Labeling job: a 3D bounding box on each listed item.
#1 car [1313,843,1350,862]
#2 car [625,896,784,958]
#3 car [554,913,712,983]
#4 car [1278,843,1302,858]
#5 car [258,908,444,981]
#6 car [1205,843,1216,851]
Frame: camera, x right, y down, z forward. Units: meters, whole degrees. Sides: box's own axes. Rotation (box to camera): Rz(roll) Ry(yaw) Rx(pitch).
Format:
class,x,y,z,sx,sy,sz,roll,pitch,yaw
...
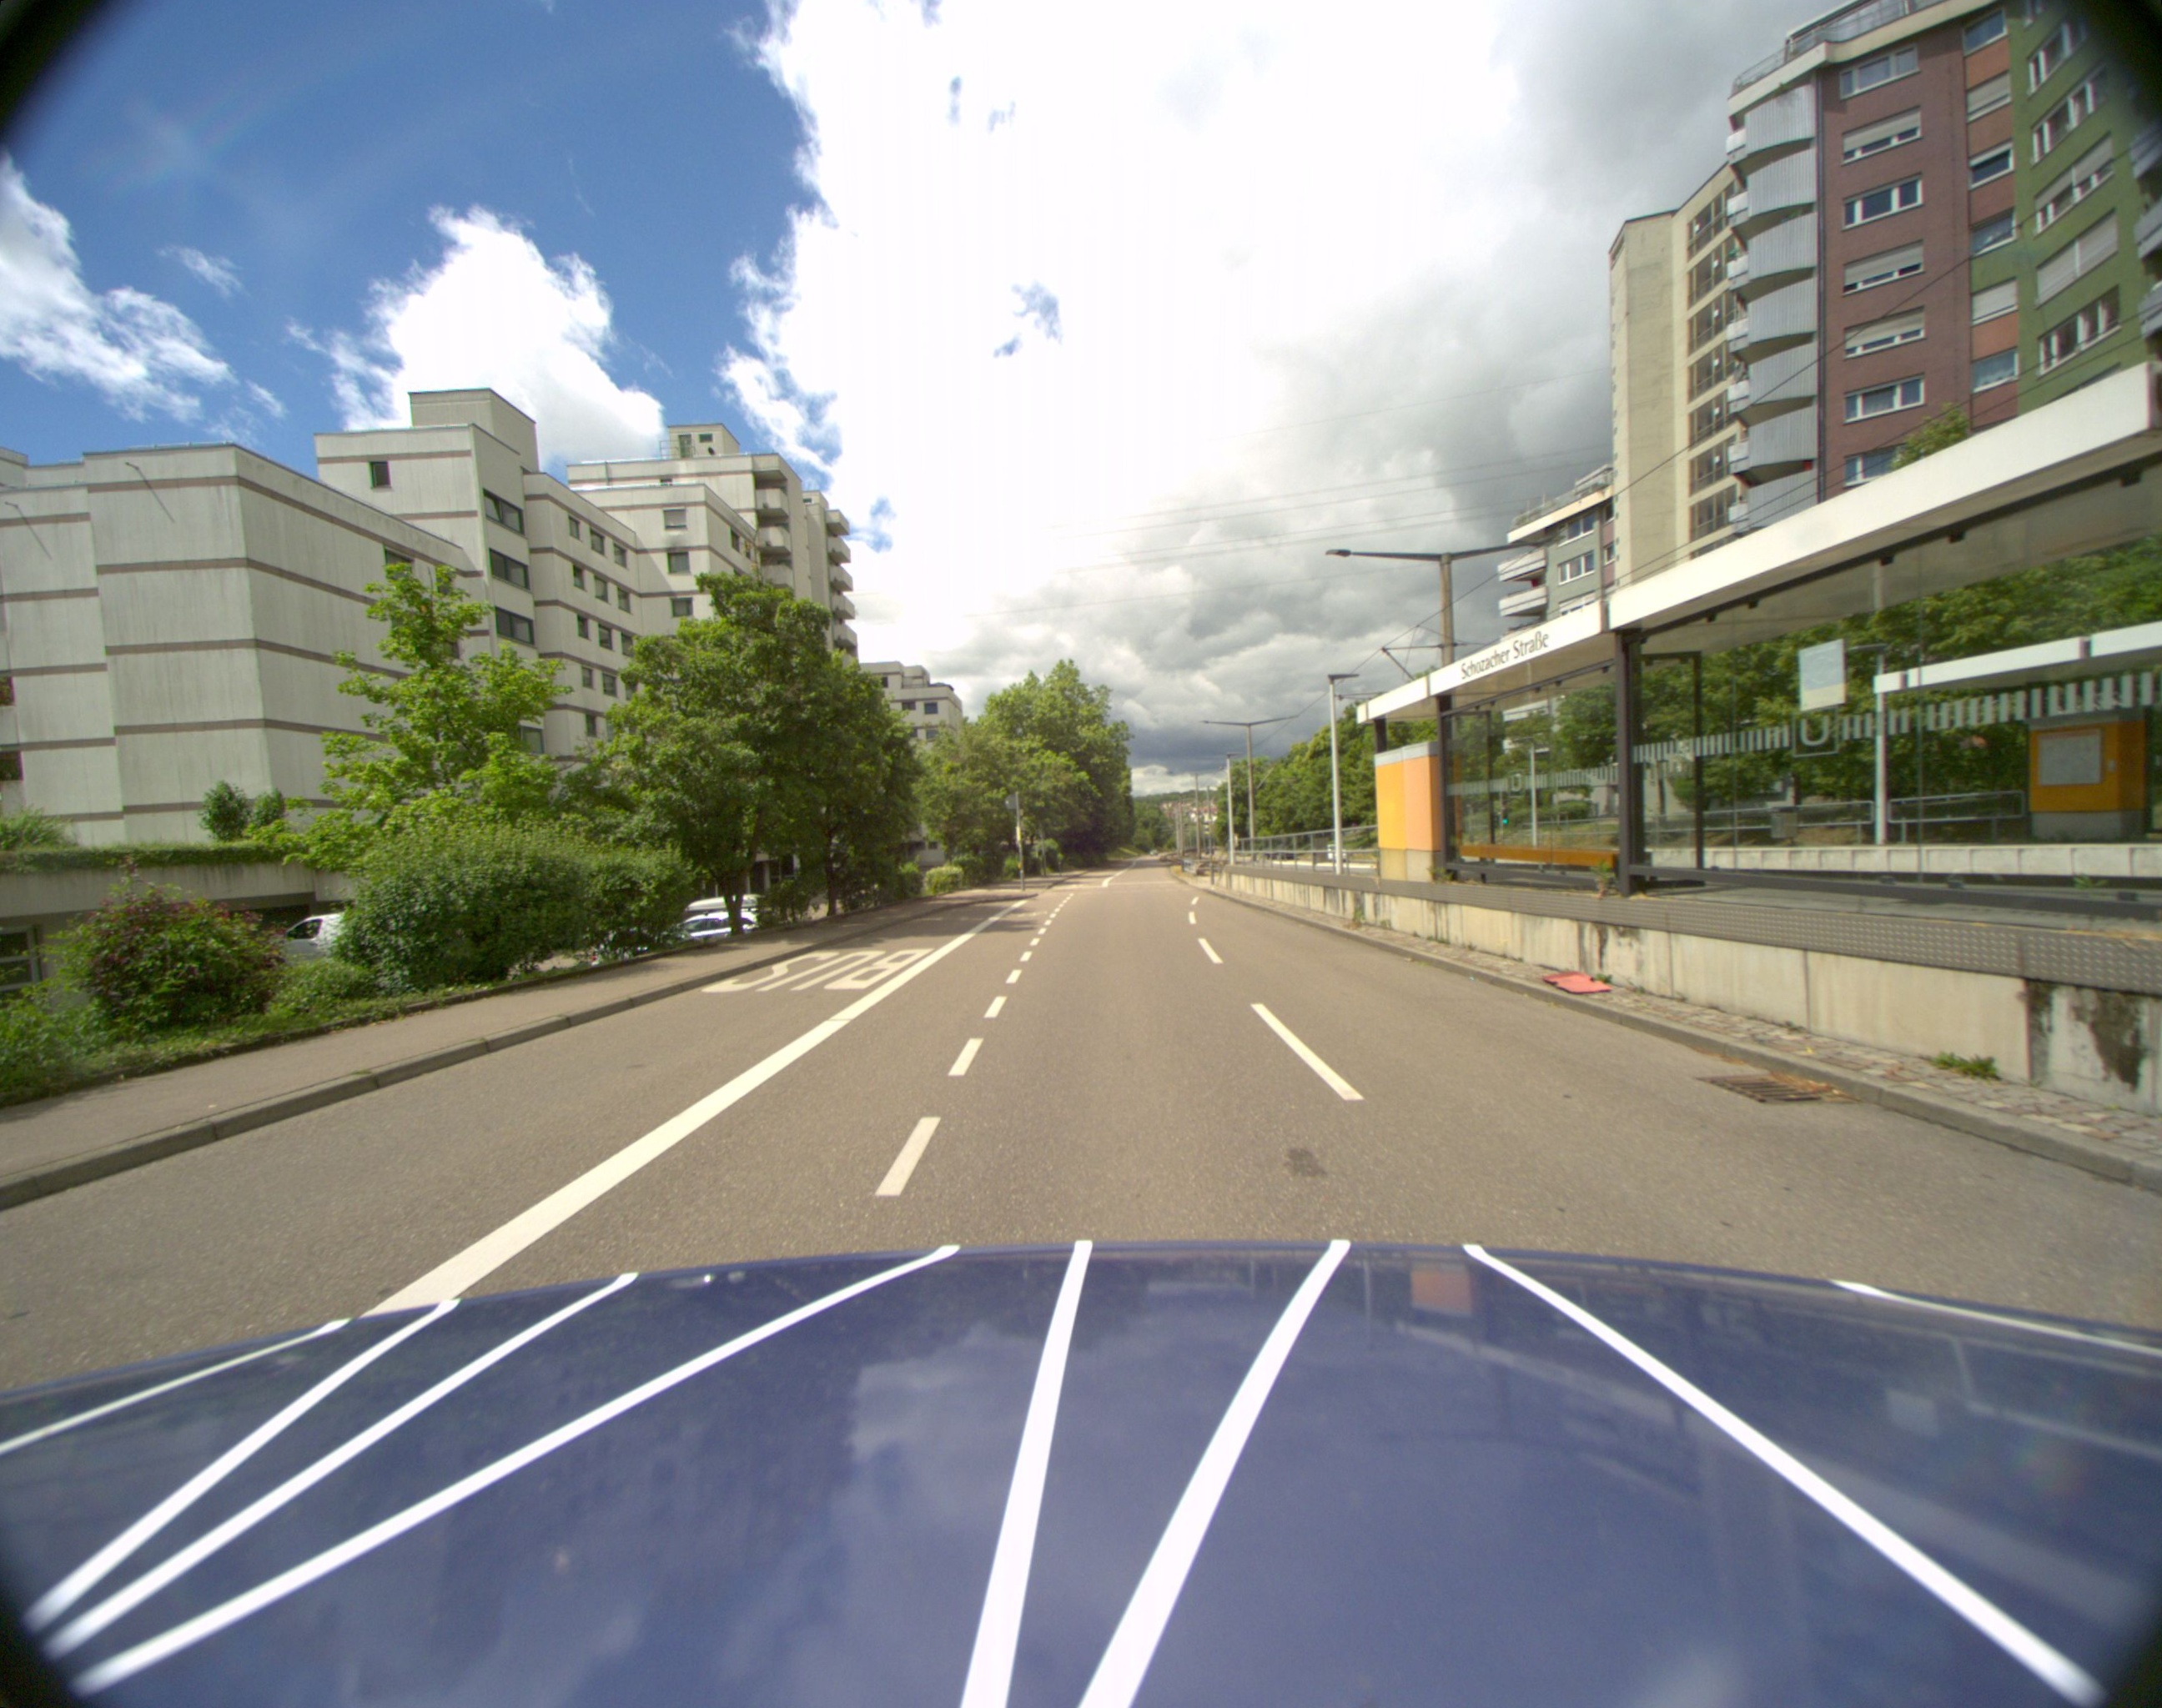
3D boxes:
class,x,y,z,sx,sy,sz,roll,pitch,yaw
car,20.459,-0.149,62.140,1.659,1.410,3.999,-2,0,0
car,-10.862,2.088,22.063,3.761,1.424,1.564,-3,2,3
car,-11.386,2.372,19.457,2.963,1.461,1.724,-3,1,3
car,21.688,-0.374,78.936,1.658,1.503,3.738,-2,0,3
car,-21.751,2.666,22.729,3.994,1.882,1.791,-1,3,7
car,26.639,-1.381,156.340,1.658,1.503,3.738,-2,0,3
